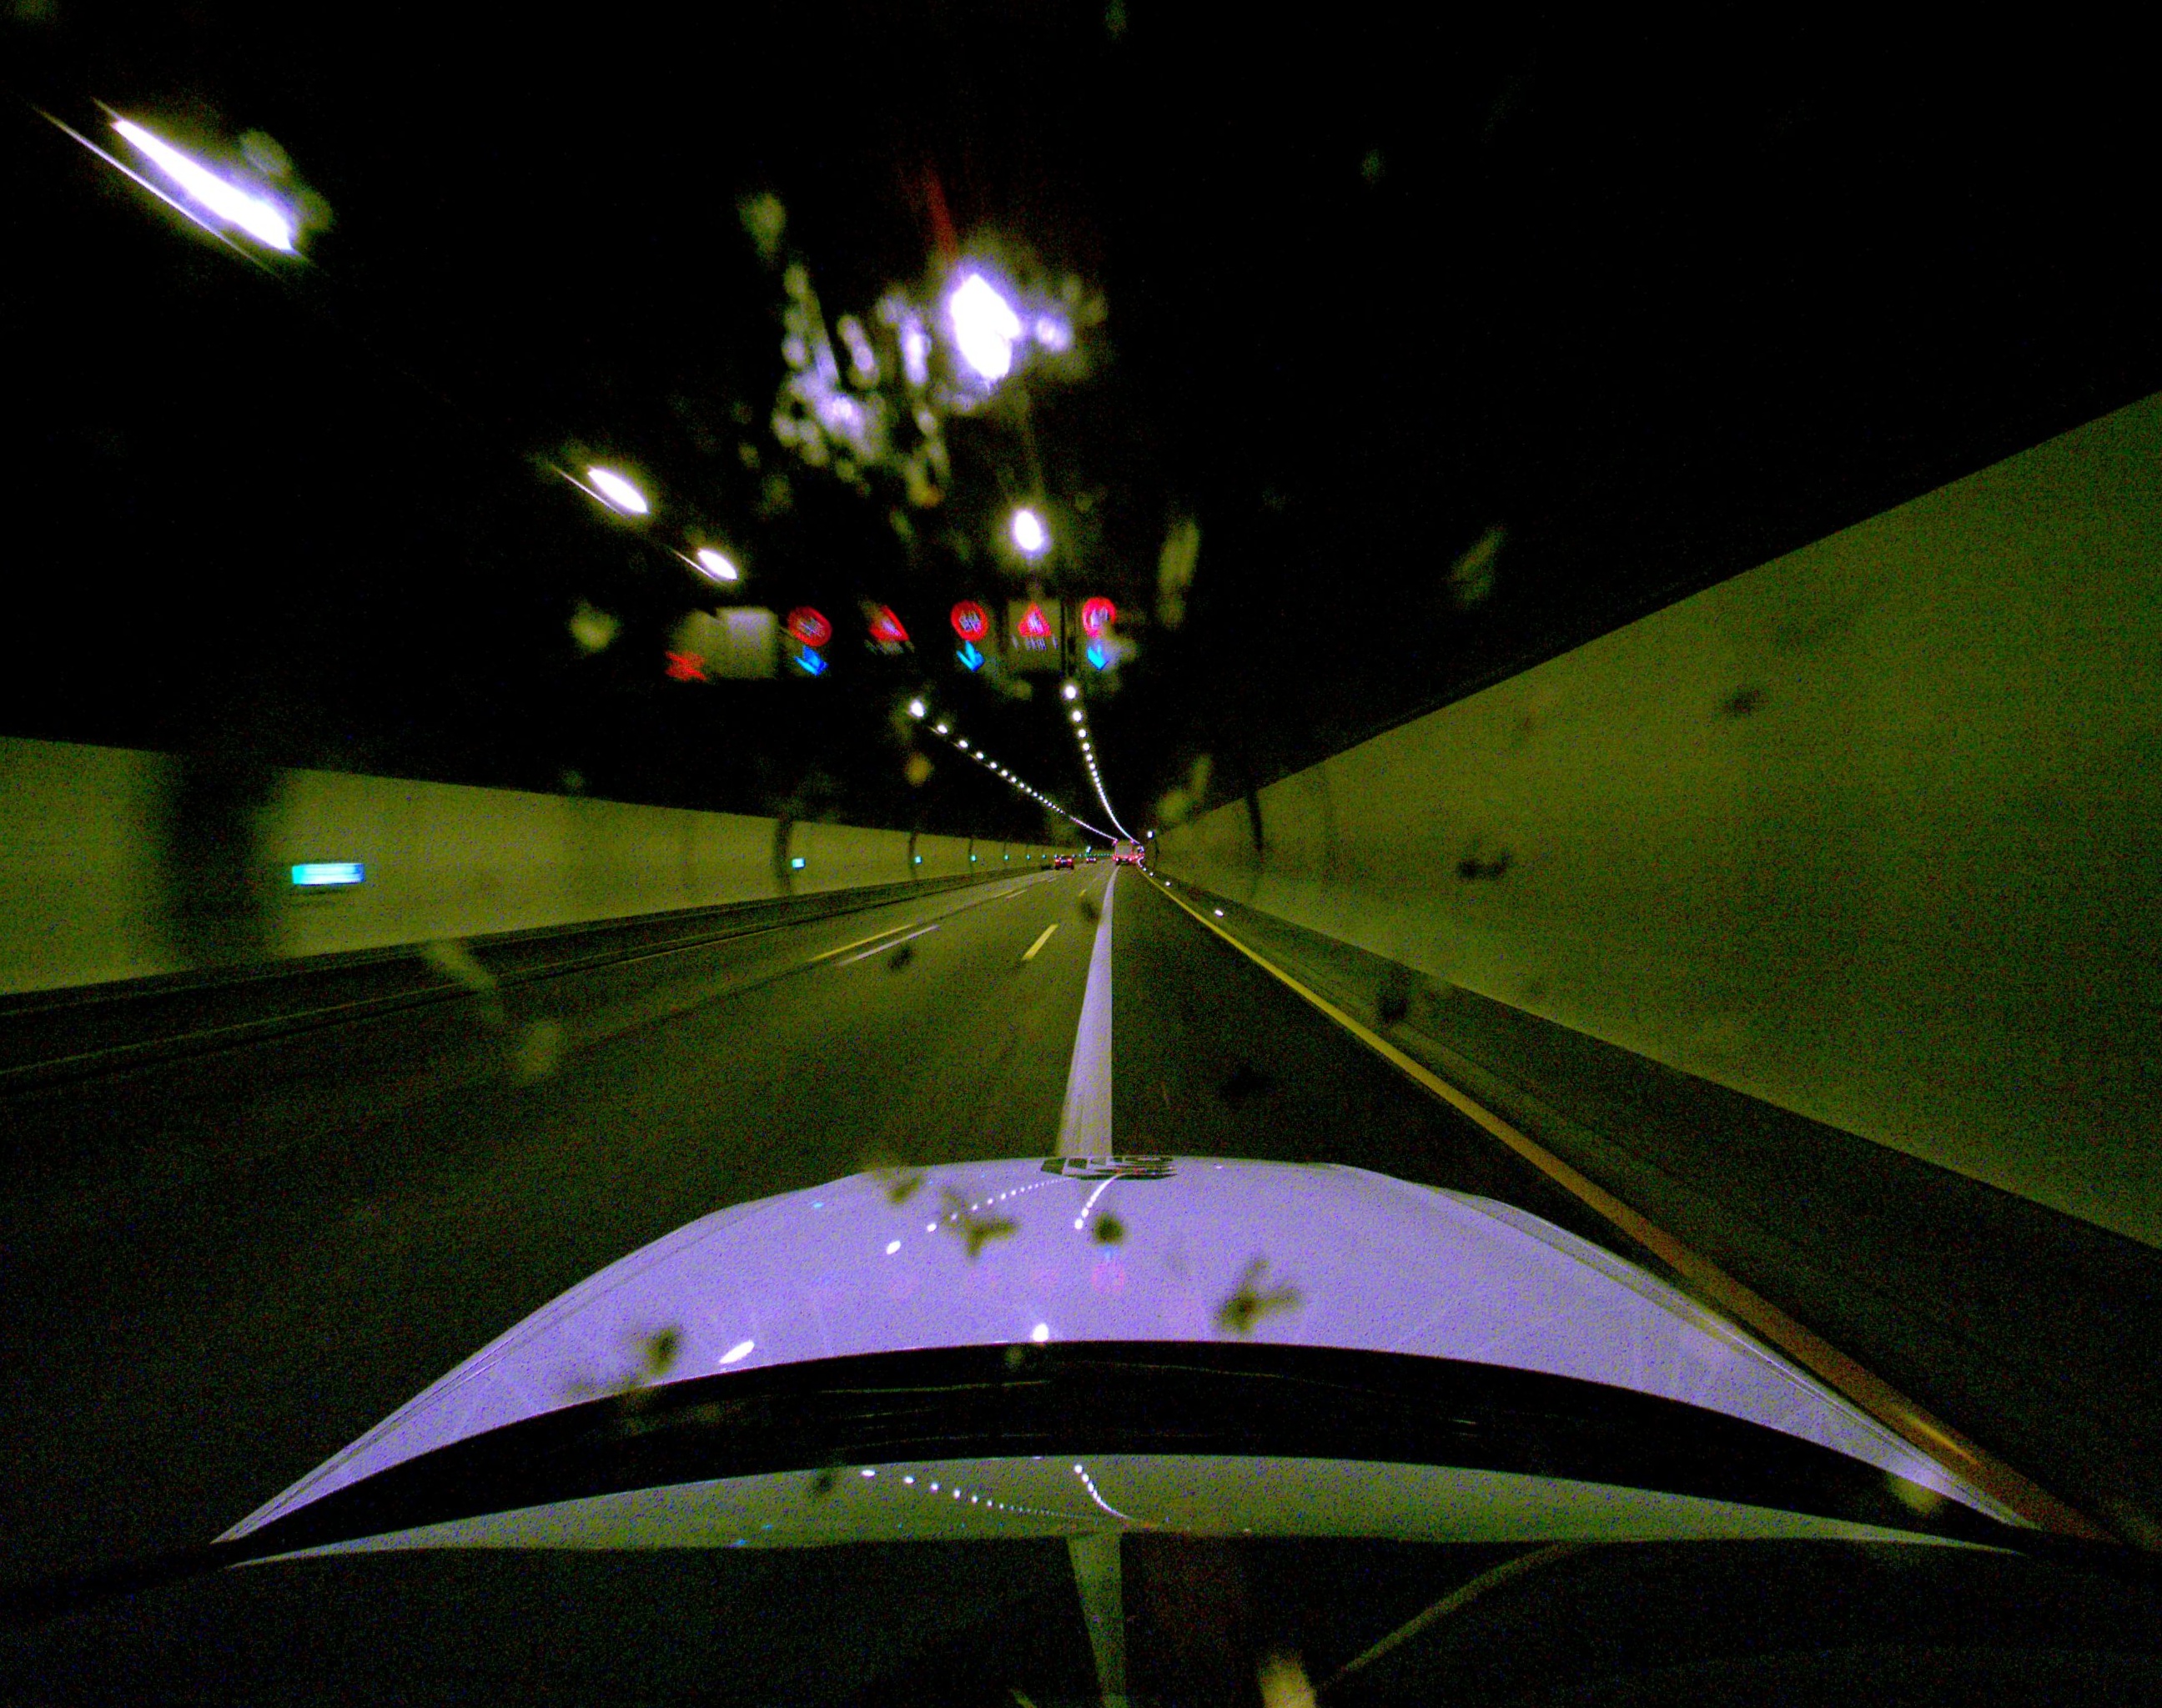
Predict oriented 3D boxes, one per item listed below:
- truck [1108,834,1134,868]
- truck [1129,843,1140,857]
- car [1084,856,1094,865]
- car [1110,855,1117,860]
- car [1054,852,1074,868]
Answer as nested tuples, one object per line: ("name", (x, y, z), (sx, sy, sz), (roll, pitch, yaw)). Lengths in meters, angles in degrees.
("truck", (5.966, -0.443, 124.612), (3.267, 4.650, 17.290), (-3, 0, 1))
("truck", (16.167, -1.187, 247.984), (2.910, 4.047, 14.041), (-3, 0, 3))
("car", (1.434, 1.122, 142.625), (1.806, 1.520, 4.001), (-1, 2, 1))
("car", (8.316, 0.891, 207.710), (1.645, 1.274, 4.001), (-1, 2, 1))
("car", (-1.745, 0.658, 86.268), (1.805, 1.618, 4.002), (-1, 0, 2))
